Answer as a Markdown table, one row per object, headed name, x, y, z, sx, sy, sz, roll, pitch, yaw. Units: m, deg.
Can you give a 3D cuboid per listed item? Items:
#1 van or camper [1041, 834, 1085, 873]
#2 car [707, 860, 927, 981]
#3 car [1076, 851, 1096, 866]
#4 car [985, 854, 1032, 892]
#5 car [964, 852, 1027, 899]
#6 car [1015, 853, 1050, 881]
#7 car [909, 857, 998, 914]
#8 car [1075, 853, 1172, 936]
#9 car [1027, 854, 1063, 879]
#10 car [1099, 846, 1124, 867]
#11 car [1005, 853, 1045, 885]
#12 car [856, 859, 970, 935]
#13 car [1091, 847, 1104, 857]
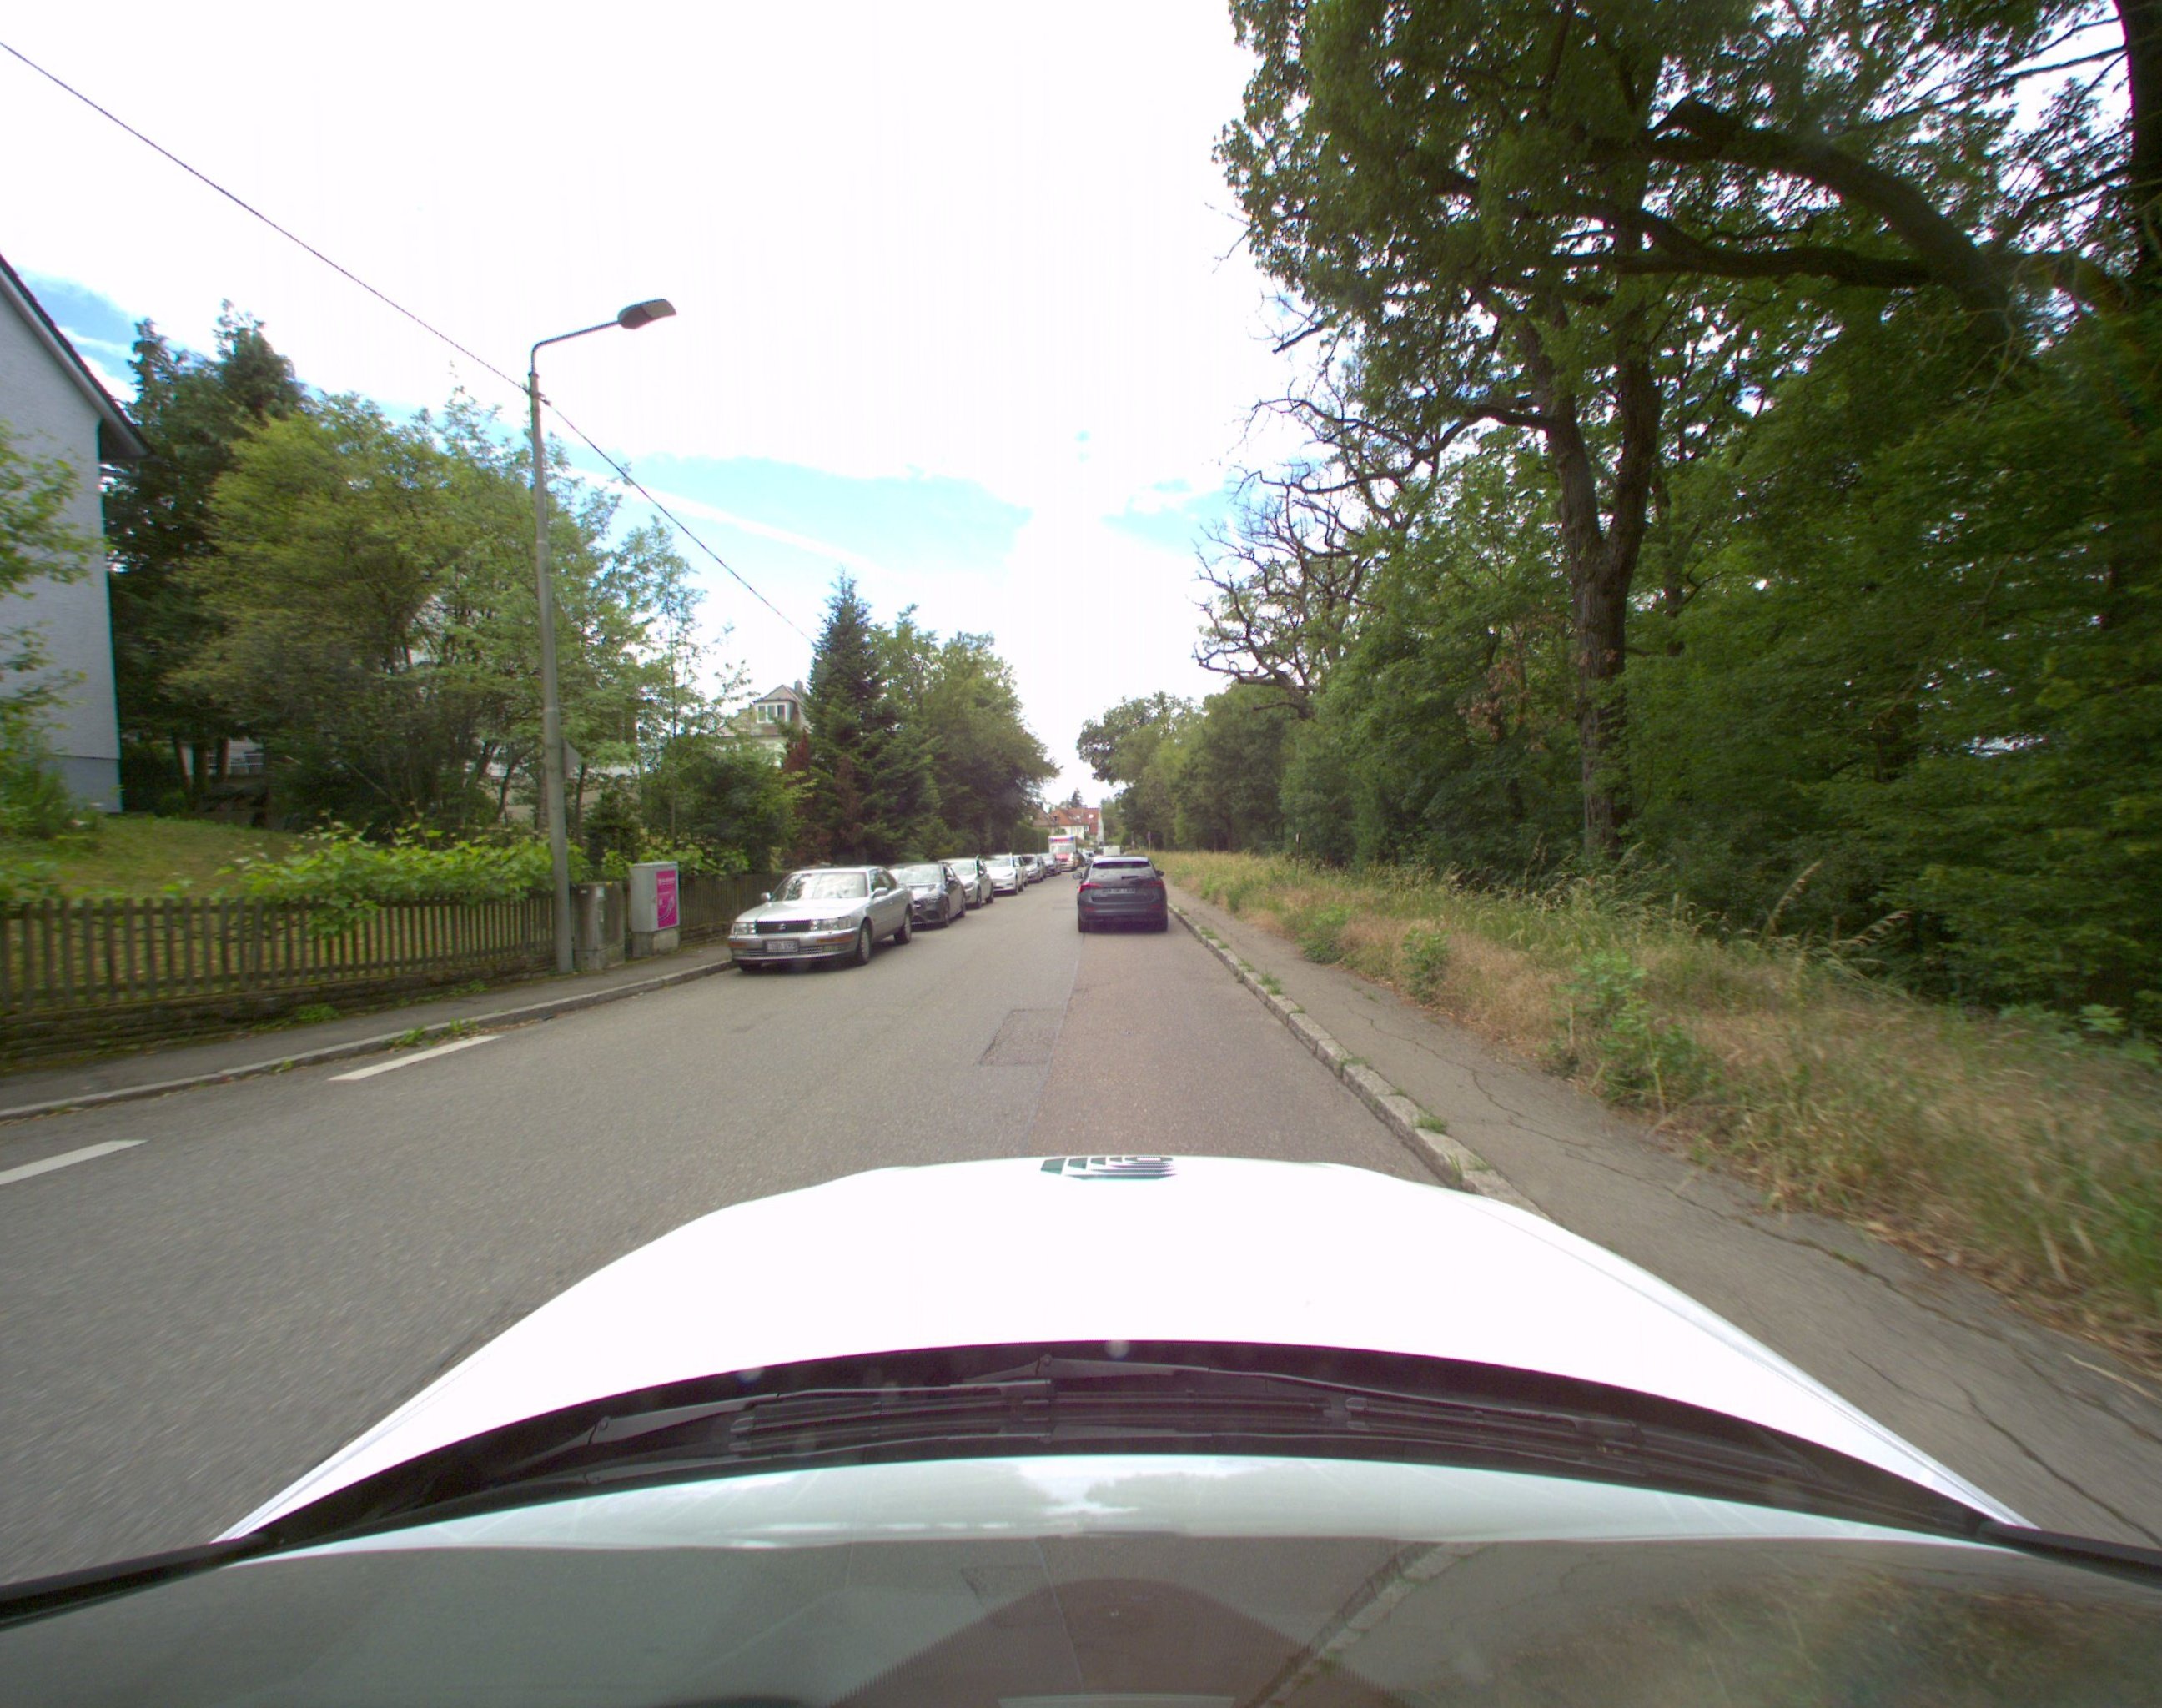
| name | x | y | z | sx | sy | sz | roll | pitch | yaw |
| --- | --- | --- | --- | --- | --- | --- | --- | --- | --- |
| van or camper | -1.366 | -0.053 | 65.589 | 2.443 | 2.894 | 7.182 | -2 | 0 | 7 |
| car | -3.903 | 0.877 | 13.063 | 1.842 | 1.439 | 4.910 | -3 | 0 | 0 |
| car | 0.550 | 0.459 | 84.927 | 1.756 | 1.446 | 4.477 | -2 | 0 | 3 |
| car | -3.262 | 0.816 | 37.143 | 1.715 | 1.504 | 3.816 | -4 | 0 | 0 |
| car | -3.264 | 0.787 | 31.812 | 1.910 | 1.562 | 4.602 | -4 | 0 | -1 |
| car | -2.852 | 0.729 | 48.640 | 1.714 | 1.505 | 4.061 | -4 | 0 | 1 |
| car | -3.721 | 0.884 | 24.500 | 1.828 | 1.439 | 4.118 | -3 | 0 | 2 |
| car | 0.759 | 0.735 | 16.943 | 1.723 | 1.439 | 4.322 | -1 | 1 | -1 |
| car | -2.361 | 0.792 | 54.961 | 1.790 | 1.505 | 4.868 | -4 | 0 | 4 |
| car | 2.816 | 0.210 | 75.698 | 2.066 | 1.922 | 4.920 | -1 | 0 | -1 |
| car | -2.866 | 0.740 | 42.327 | 1.715 | 1.505 | 4.007 | -4 | 0 | -1 |
| car | -3.708 | 0.884 | 18.690 | 1.729 | 1.439 | 4.261 | -3 | 0 | -1 |
| car | 2.506 | -0.306 | 121.322 | 1.856 | 1.414 | 4.593 | 0 | 0 | 1 |
